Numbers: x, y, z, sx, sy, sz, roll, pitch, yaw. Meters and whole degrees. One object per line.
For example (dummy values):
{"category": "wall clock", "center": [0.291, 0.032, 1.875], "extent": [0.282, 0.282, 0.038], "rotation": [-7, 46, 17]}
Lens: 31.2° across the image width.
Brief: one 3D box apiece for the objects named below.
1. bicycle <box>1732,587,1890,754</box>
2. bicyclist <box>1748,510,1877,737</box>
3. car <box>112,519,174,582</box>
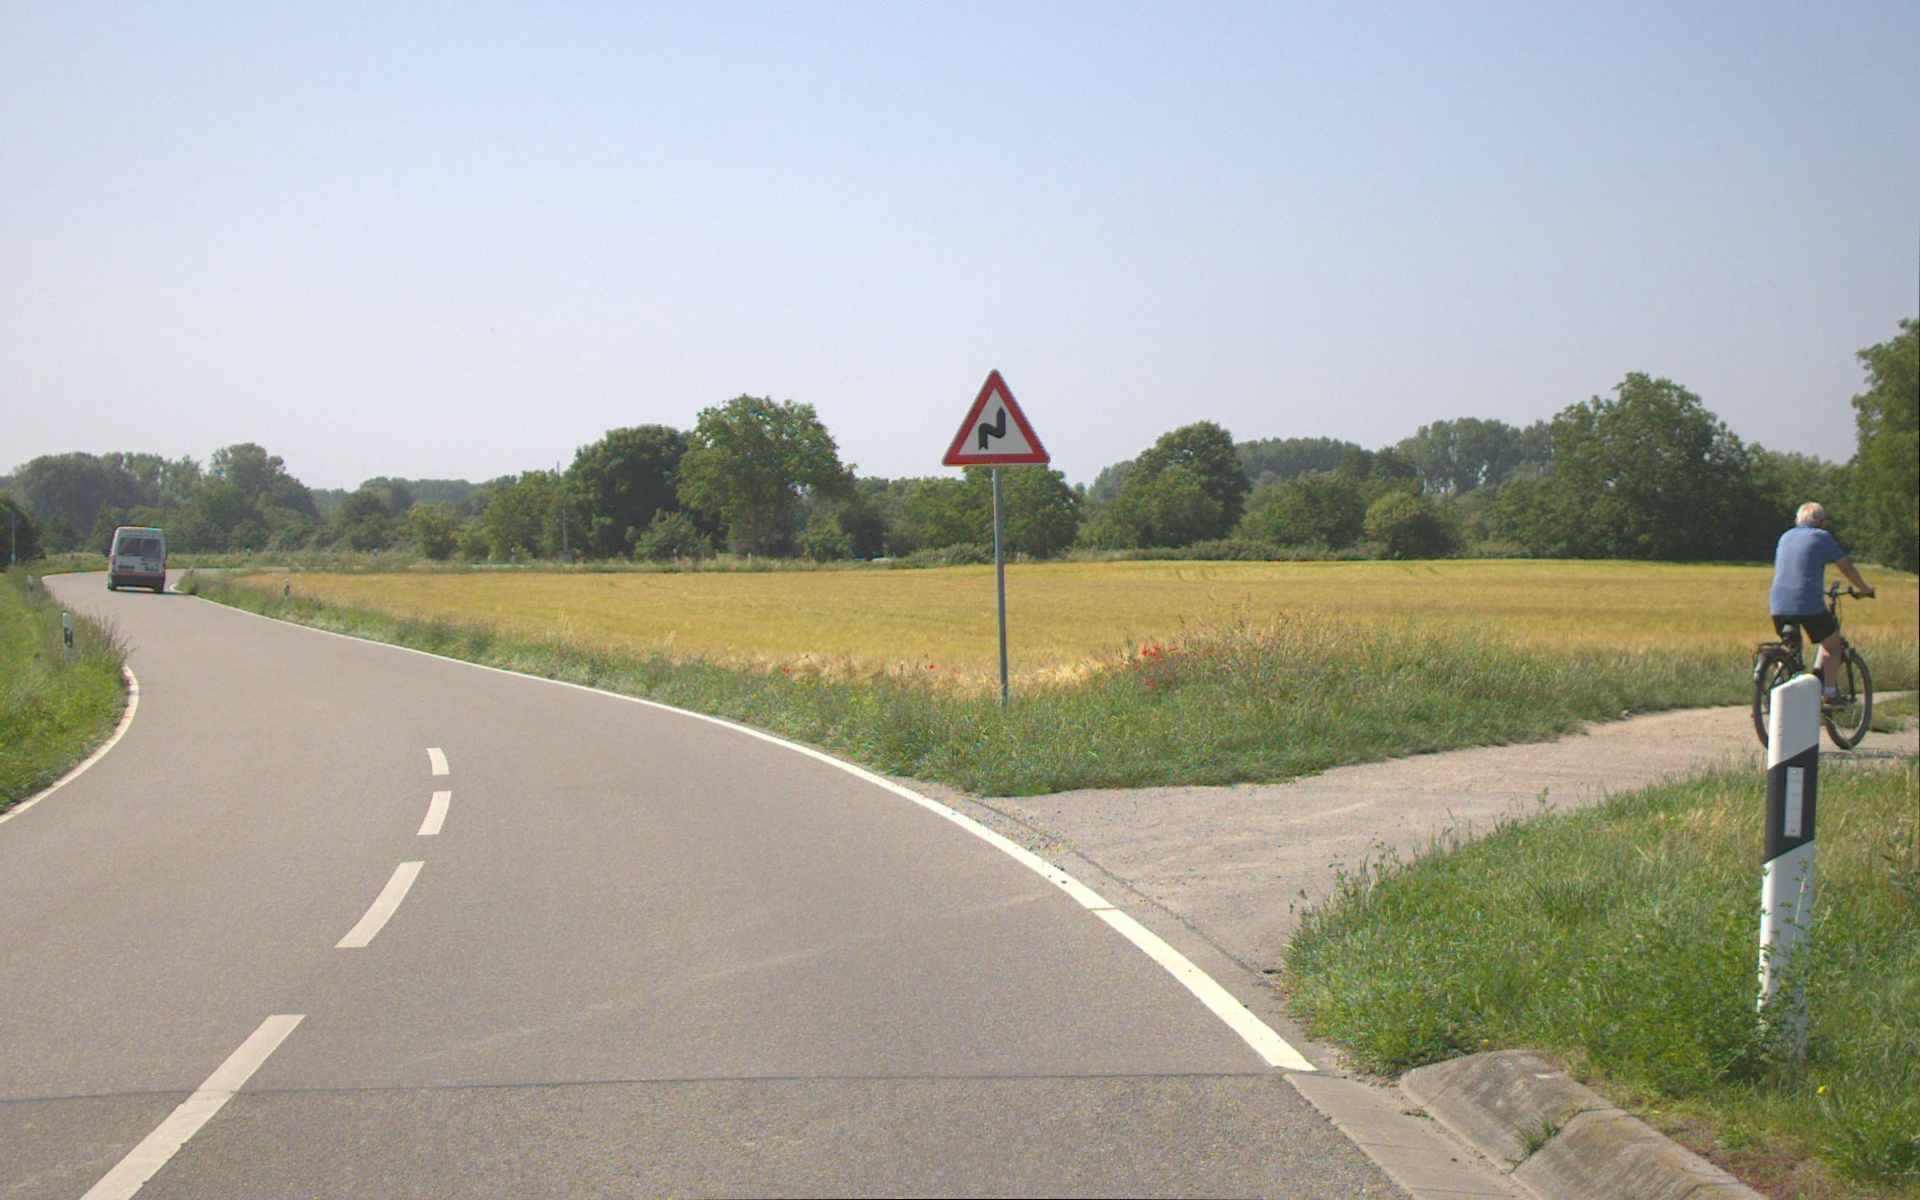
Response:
{"category": "bicycle", "center": [6.003, 0.477, 24.204], "extent": [0.521, 1.112, 1.766], "rotation": [0, 1, 33]}
{"category": "bicyclist", "center": [6.002, 0.157, 24.202], "extent": [0.674, 1.568, 0.734], "rotation": [0, 1, 33]}
{"category": "car", "center": [-31.490, -1.940, 132.420], "extent": [2.103, 2.359, 5.688], "rotation": [-1, 1, -15]}
